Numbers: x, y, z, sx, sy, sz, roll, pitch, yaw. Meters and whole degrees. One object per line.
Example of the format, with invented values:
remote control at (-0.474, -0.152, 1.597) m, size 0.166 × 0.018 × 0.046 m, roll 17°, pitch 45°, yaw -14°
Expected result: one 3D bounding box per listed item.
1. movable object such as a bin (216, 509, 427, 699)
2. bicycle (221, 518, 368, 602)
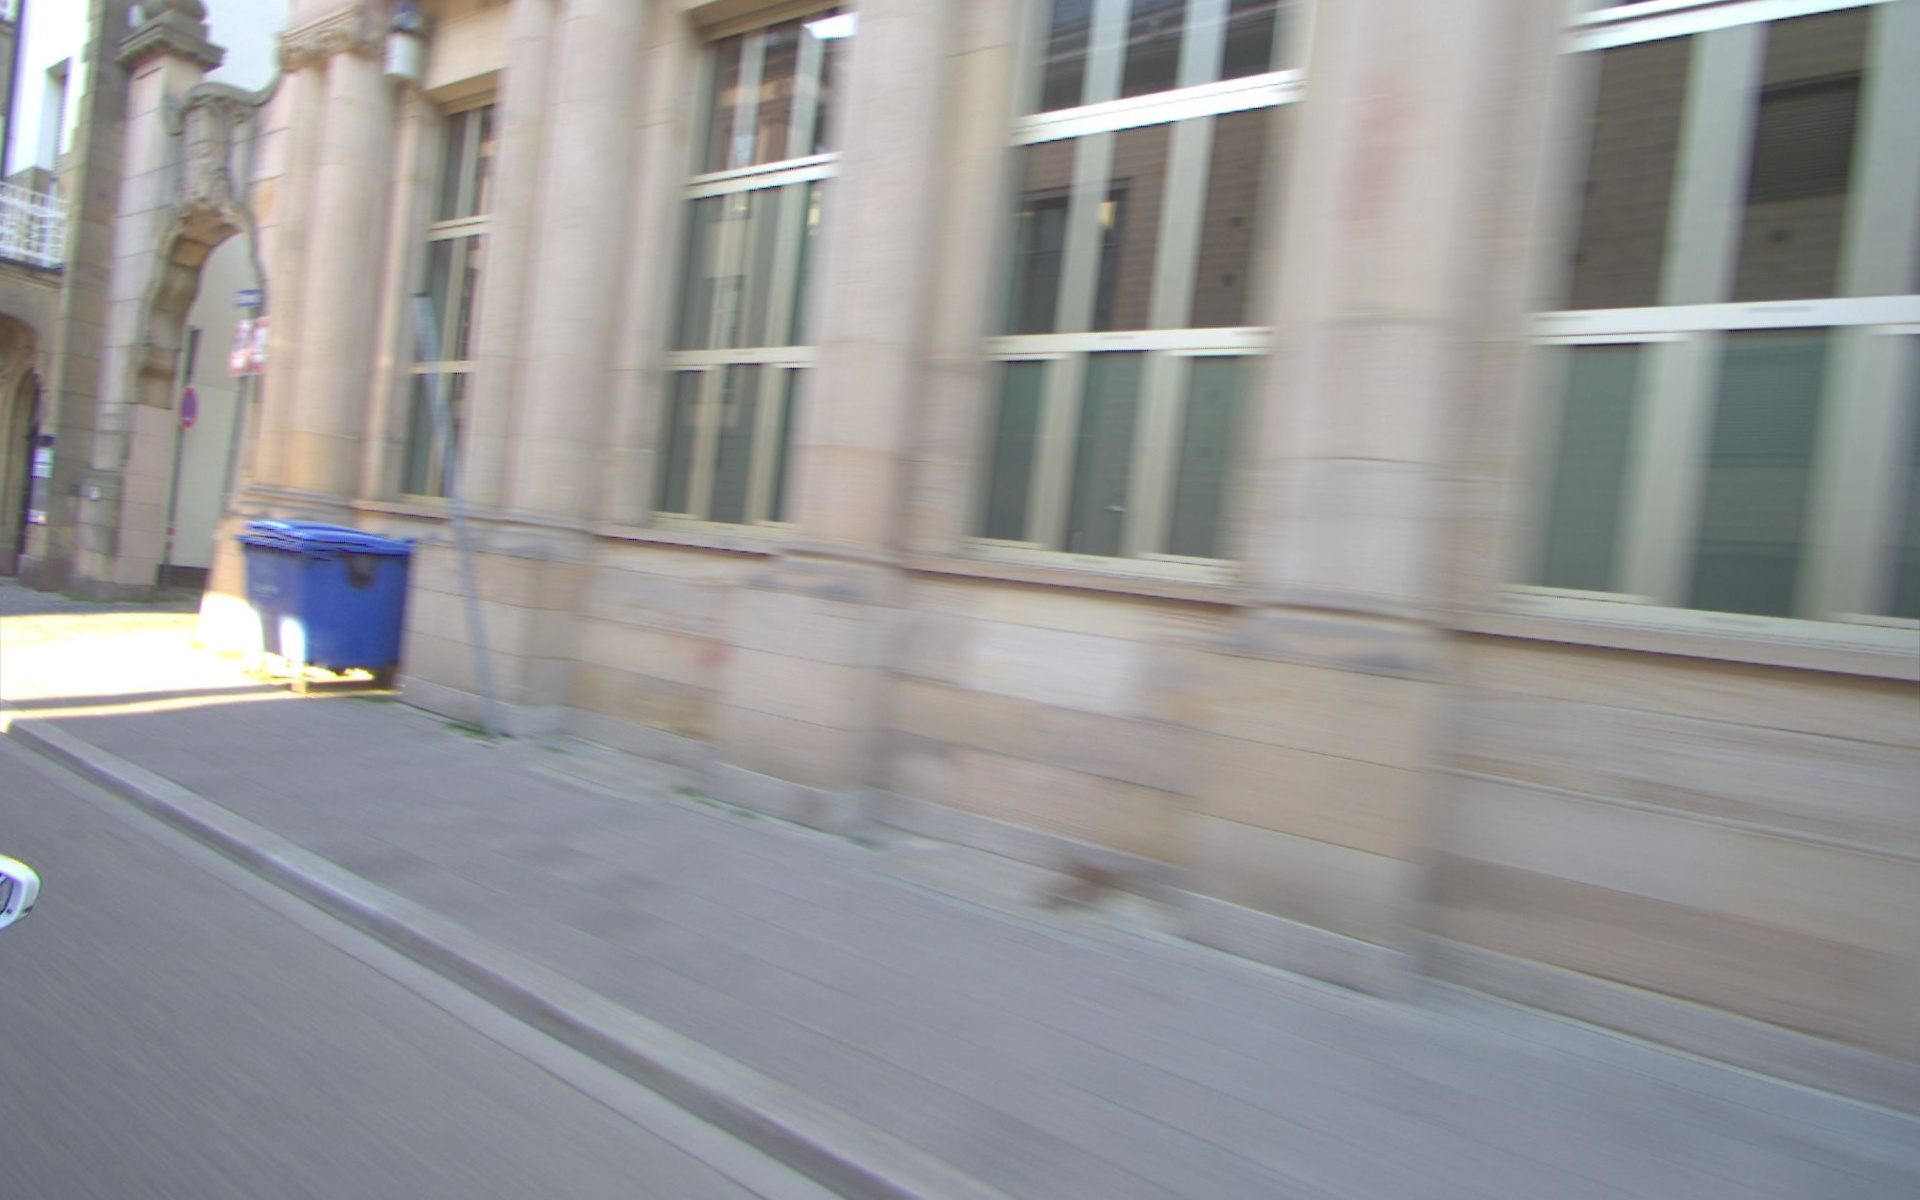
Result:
movable object such as a bin at (-5.408, 0.029, 8.530) m, size 1.220 × 1.410 × 0.991 m, roll 8°, pitch 2°, yaw 32°
bicycle at (-10.305, -0.593, 15.640) m, size 0.436 × 1.079 × 1.813 m, roll 7°, pitch 0°, yaw 32°
